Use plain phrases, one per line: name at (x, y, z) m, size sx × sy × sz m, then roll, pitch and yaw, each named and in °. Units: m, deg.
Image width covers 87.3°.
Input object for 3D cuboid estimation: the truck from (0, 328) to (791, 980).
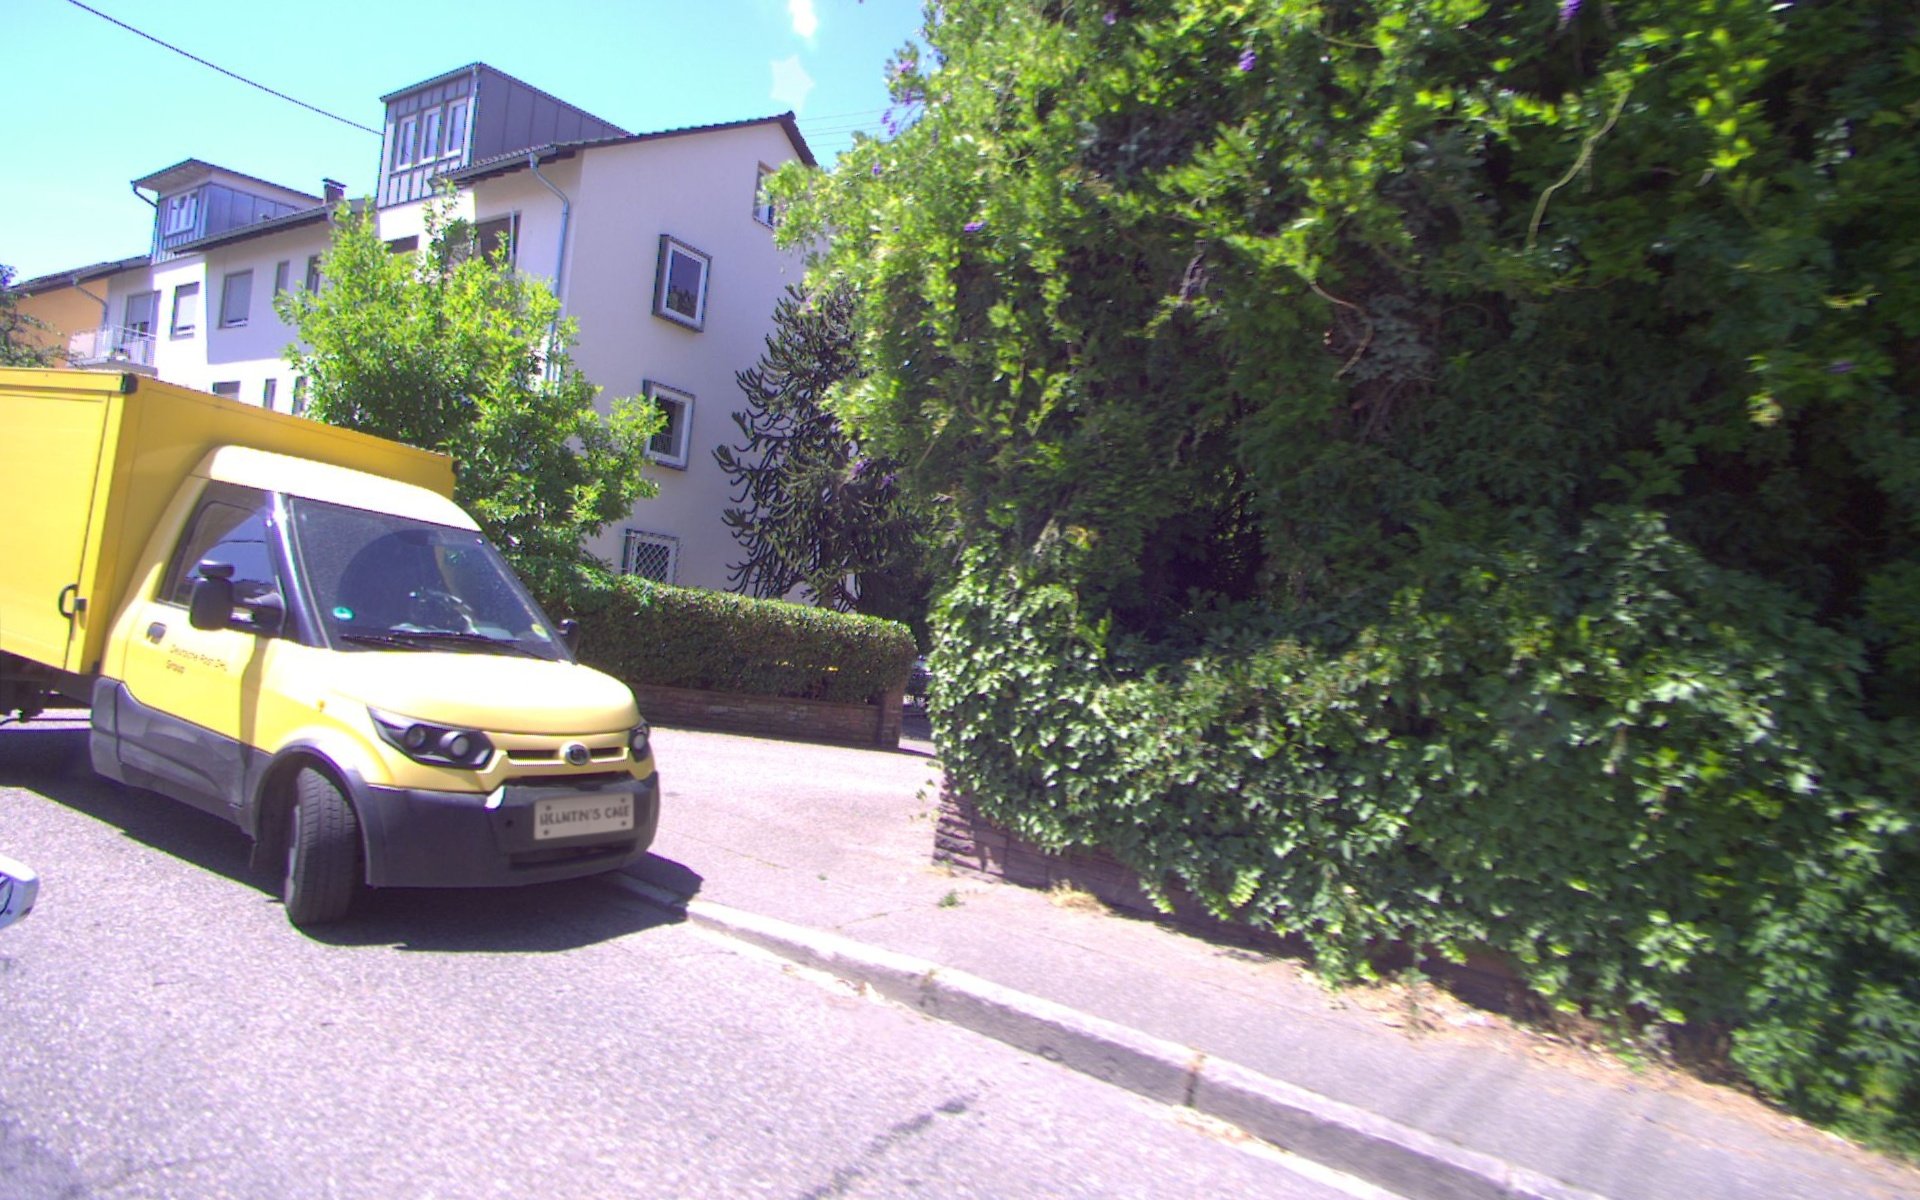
truck at (-4.198, -0.055, 5.845) m, size 6.067 × 2.334 × 2.021 m, roll 8°, pitch -2°, yaw 27°
